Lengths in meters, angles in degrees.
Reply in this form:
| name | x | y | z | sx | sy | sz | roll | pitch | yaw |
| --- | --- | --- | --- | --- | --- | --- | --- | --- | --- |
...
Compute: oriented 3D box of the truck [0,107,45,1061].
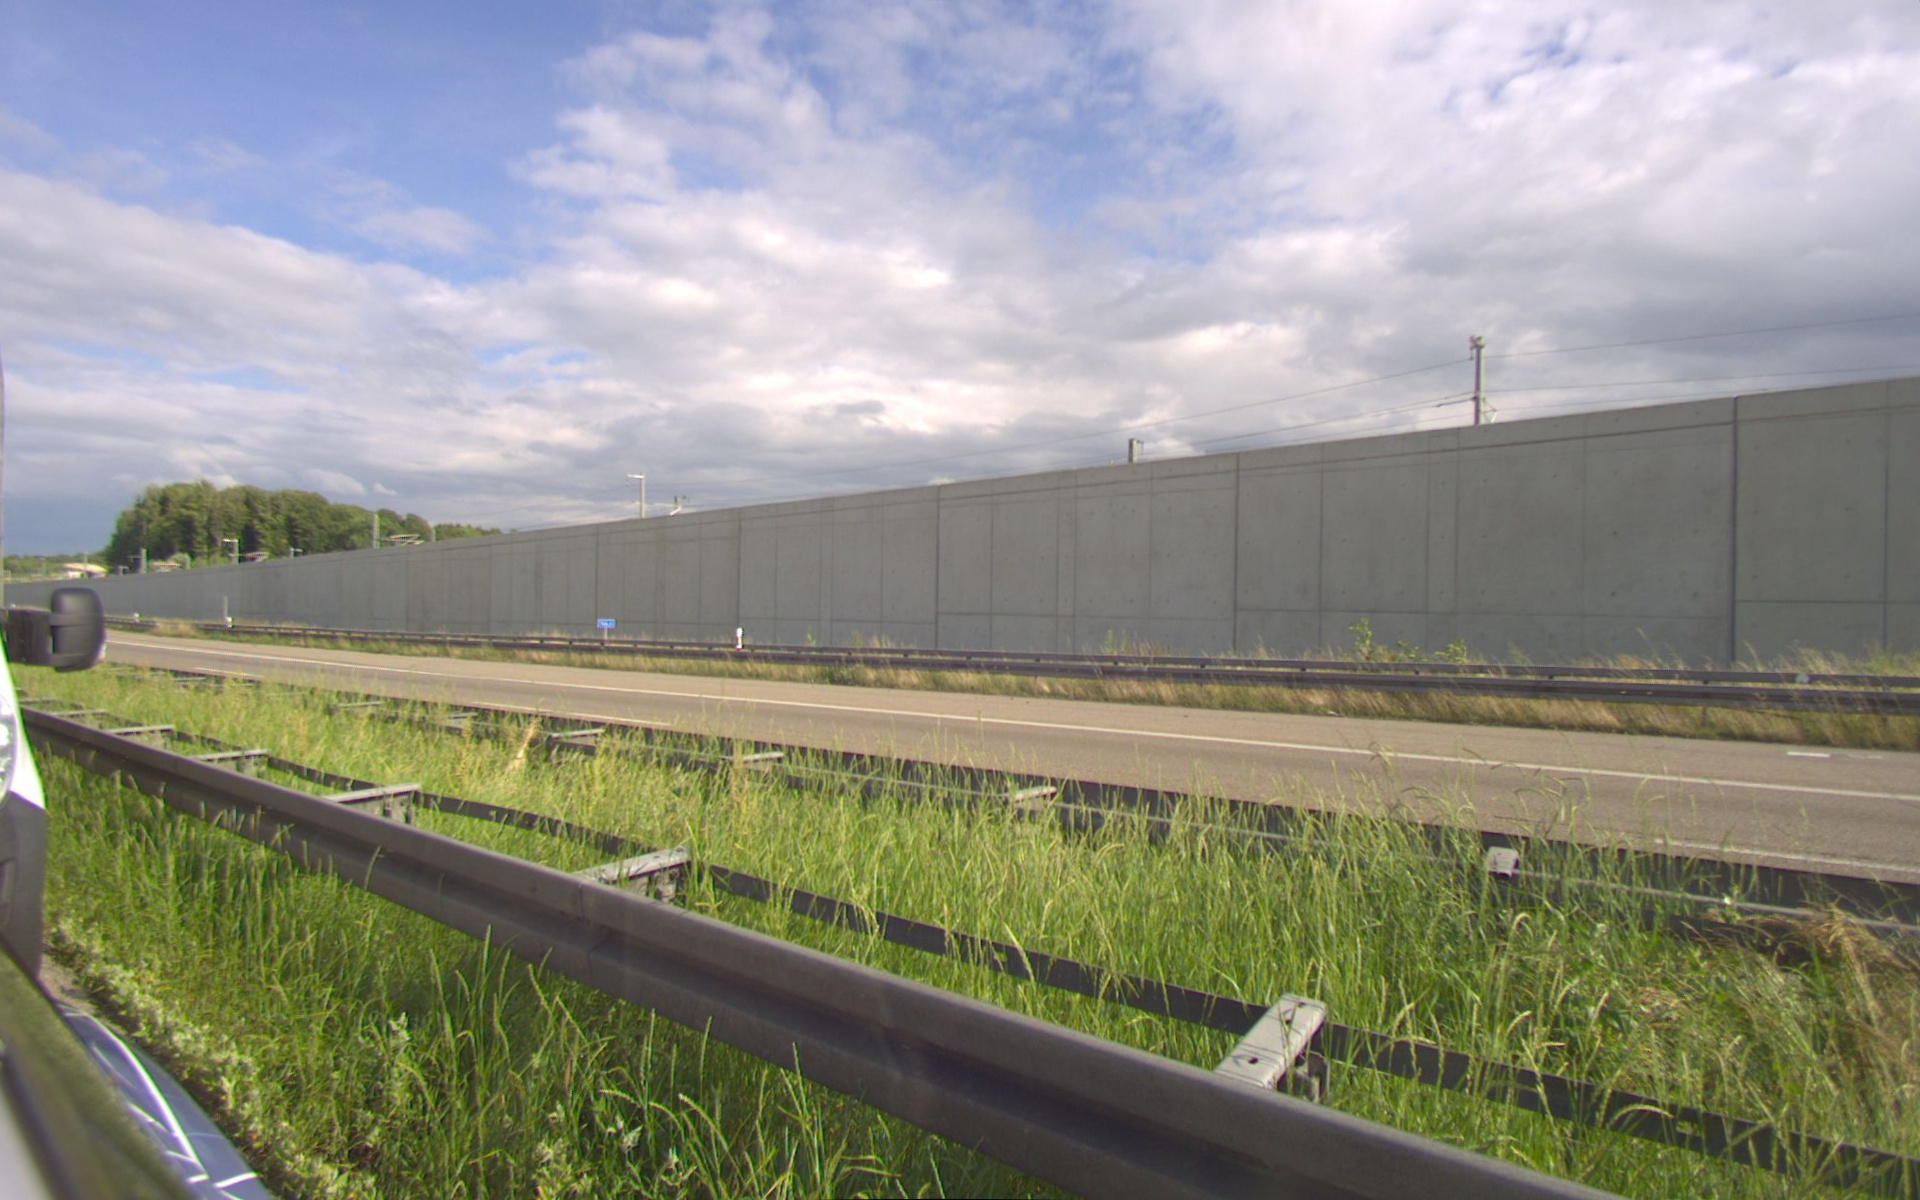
| name | x | y | z | sx | sy | sz | roll | pitch | yaw |
| --- | --- | --- | --- | --- | --- | --- | --- | --- | --- |
| truck | -6.666 | -0.019 | 5.197 | 7.800 | 3.129 | 2.033 | -1 | 0 | 41 |
